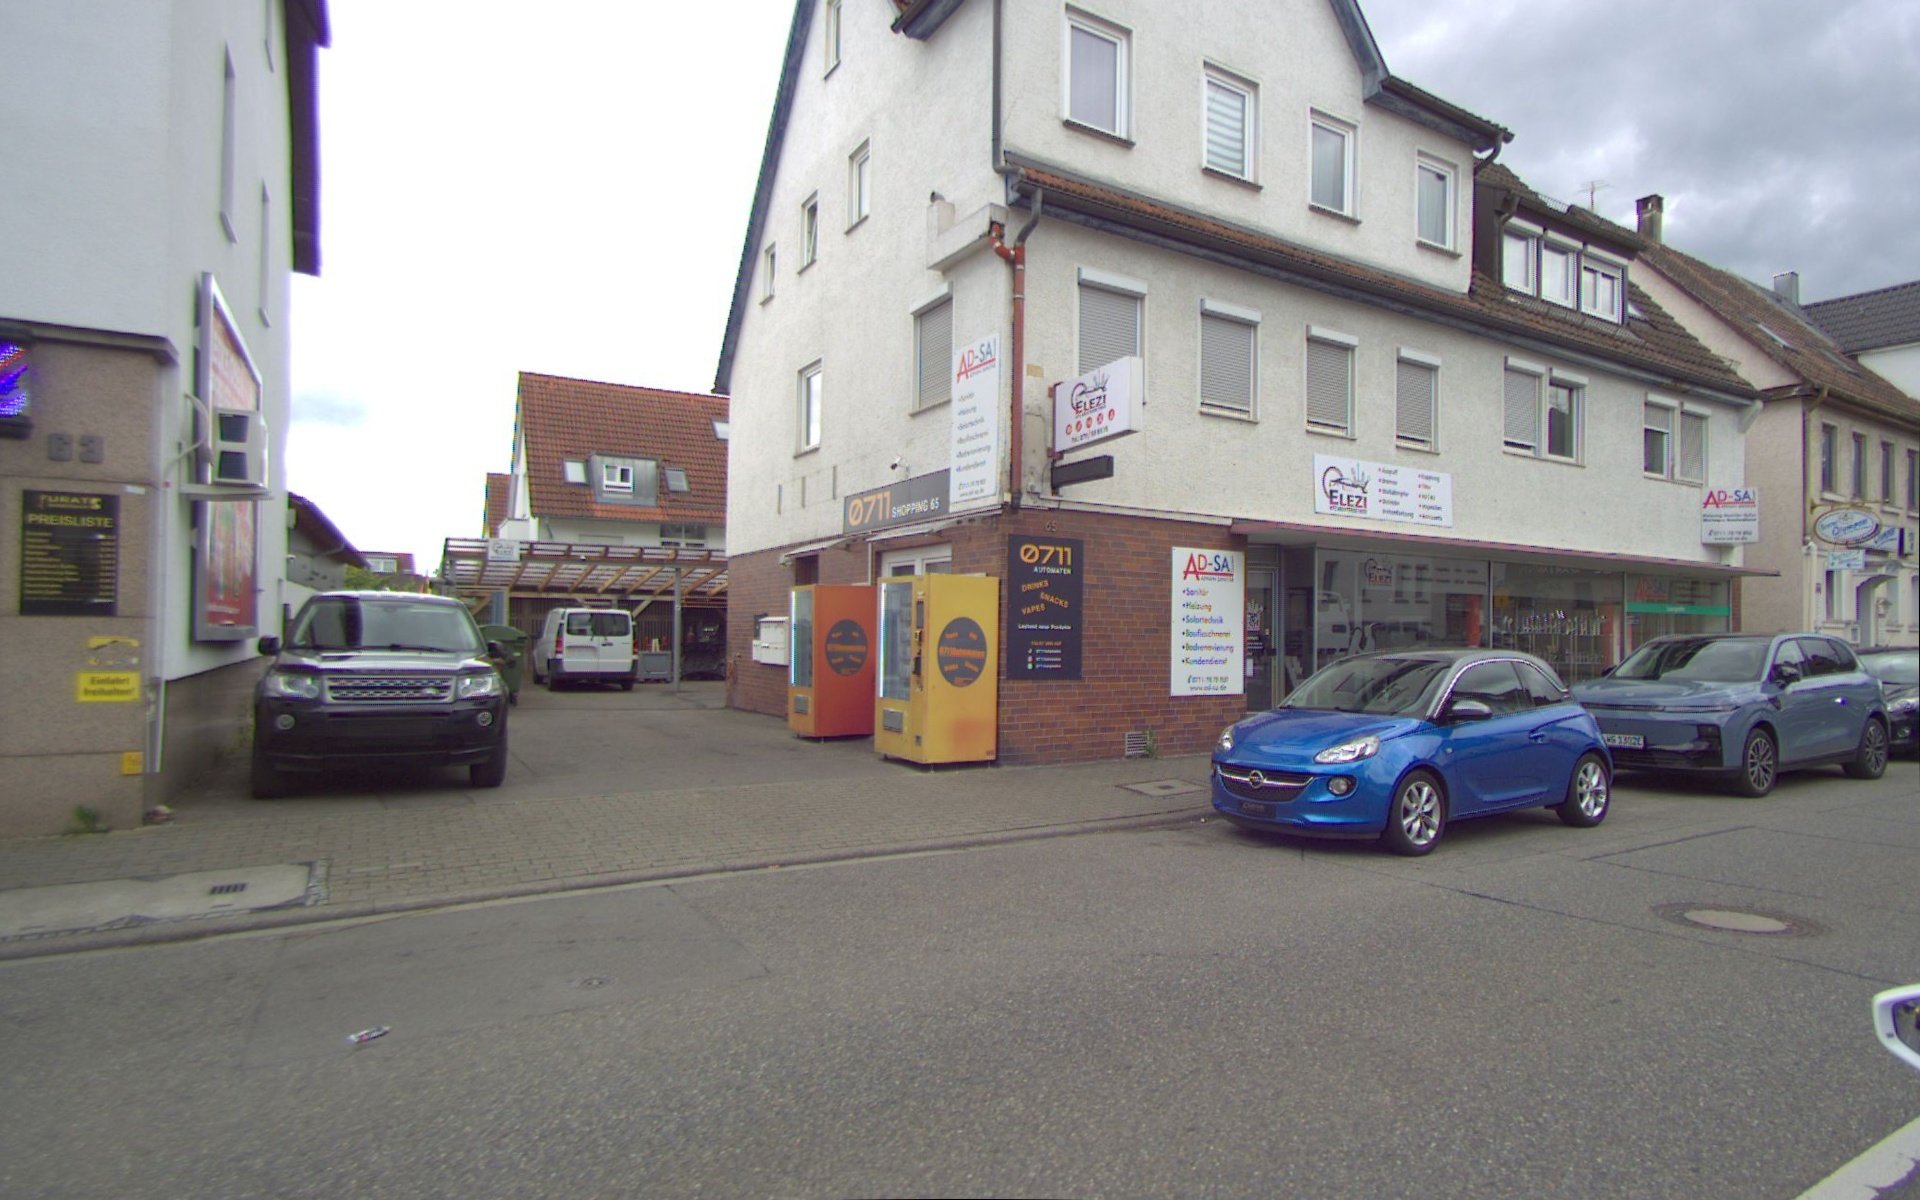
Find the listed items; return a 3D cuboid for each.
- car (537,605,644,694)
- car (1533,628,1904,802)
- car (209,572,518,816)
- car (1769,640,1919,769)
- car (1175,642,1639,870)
[{"bbox_3d":[-8.878,1.097,23.945,1.928,1.915,3.972,1,-1,-27],"label":"car"},{"bbox_3d":[8.541,1.165,11.245,4.254,1.620,1.795,2,-3,-30],"label":"car"},{"bbox_3d":[-5.420,0.689,9.328,1.977,1.725,3.968,2,-1,-30],"label":"car"},{"bbox_3d":[13.038,1.352,13.953,3.768,1.528,1.574,2,-1,-30],"label":"car"},{"bbox_3d":[3.770,1.120,8.378,3.730,1.519,1.675,2,-3,-30],"label":"car"}]
